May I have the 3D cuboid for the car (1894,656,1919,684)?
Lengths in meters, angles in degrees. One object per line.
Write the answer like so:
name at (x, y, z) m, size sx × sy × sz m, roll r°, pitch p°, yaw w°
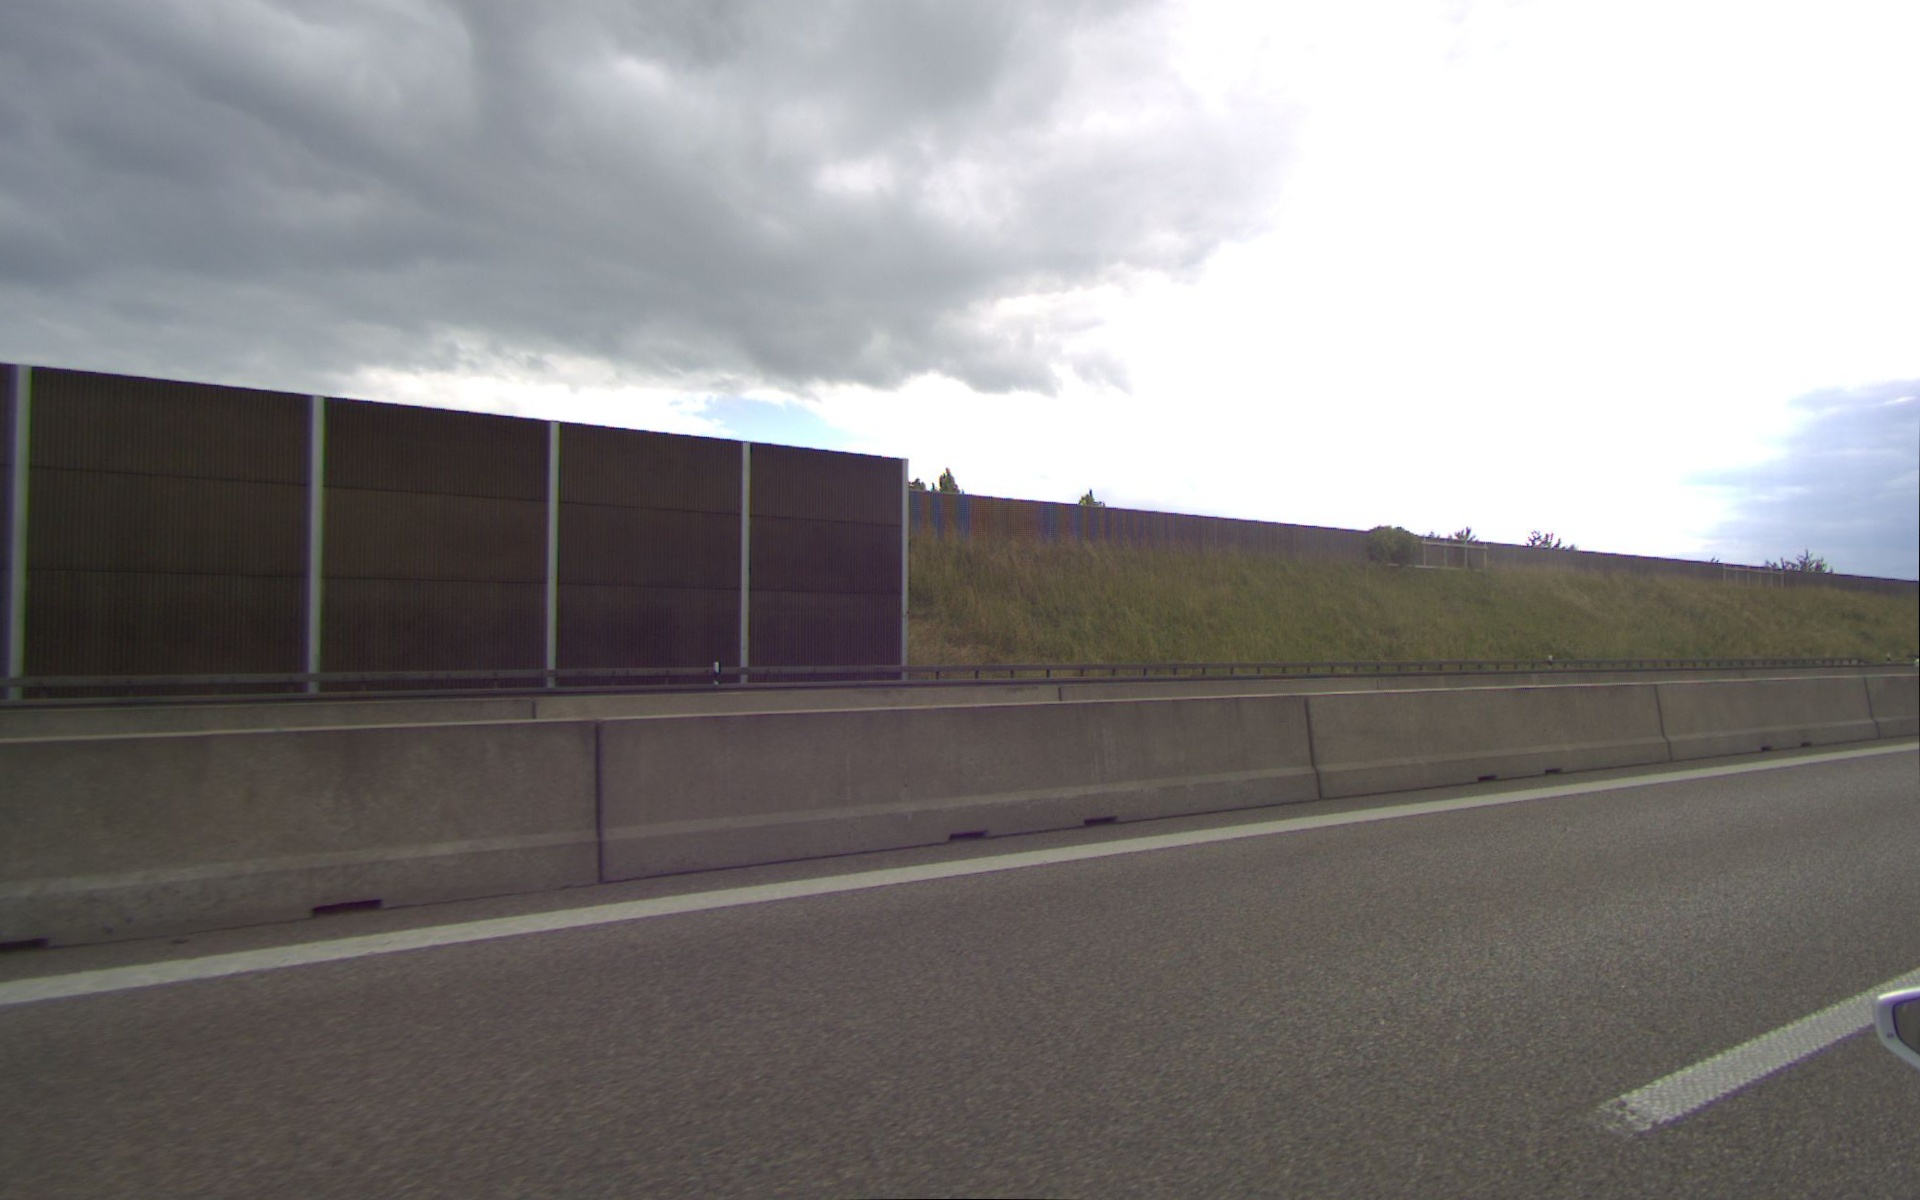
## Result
car at (51.742, 3.738, 53.264) m, size 4.883 × 1.382 × 1.984 m, roll 2°, pitch 0°, yaw -31°
